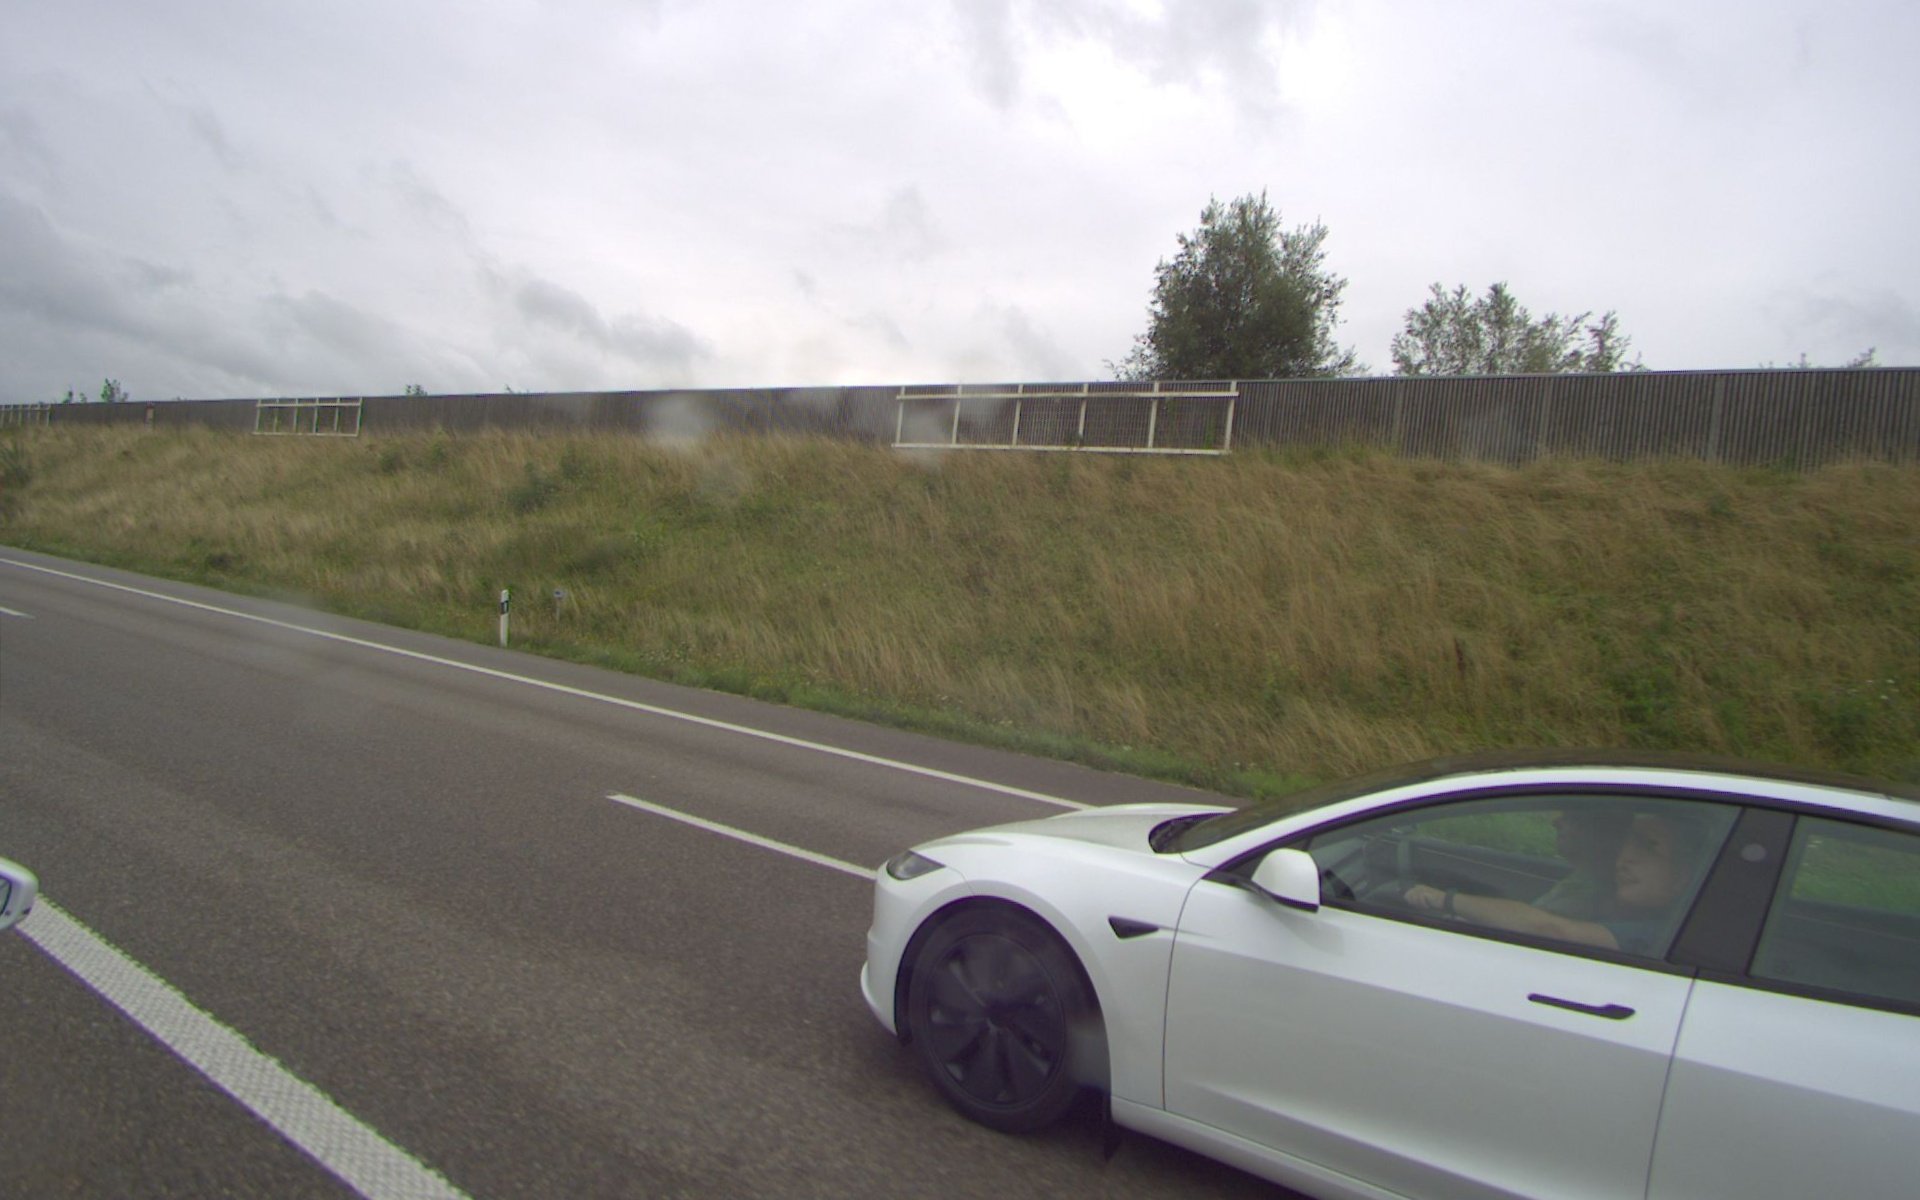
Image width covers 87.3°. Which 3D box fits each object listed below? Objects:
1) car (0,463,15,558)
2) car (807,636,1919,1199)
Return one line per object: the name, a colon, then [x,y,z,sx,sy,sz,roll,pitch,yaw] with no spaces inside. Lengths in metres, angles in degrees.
car: [-26.978,-2.621,25.978,6.078,2.343,2.089,7,0,32]
car: [2.035,1.112,2.924,4.734,1.379,1.877,6,-2,33]
